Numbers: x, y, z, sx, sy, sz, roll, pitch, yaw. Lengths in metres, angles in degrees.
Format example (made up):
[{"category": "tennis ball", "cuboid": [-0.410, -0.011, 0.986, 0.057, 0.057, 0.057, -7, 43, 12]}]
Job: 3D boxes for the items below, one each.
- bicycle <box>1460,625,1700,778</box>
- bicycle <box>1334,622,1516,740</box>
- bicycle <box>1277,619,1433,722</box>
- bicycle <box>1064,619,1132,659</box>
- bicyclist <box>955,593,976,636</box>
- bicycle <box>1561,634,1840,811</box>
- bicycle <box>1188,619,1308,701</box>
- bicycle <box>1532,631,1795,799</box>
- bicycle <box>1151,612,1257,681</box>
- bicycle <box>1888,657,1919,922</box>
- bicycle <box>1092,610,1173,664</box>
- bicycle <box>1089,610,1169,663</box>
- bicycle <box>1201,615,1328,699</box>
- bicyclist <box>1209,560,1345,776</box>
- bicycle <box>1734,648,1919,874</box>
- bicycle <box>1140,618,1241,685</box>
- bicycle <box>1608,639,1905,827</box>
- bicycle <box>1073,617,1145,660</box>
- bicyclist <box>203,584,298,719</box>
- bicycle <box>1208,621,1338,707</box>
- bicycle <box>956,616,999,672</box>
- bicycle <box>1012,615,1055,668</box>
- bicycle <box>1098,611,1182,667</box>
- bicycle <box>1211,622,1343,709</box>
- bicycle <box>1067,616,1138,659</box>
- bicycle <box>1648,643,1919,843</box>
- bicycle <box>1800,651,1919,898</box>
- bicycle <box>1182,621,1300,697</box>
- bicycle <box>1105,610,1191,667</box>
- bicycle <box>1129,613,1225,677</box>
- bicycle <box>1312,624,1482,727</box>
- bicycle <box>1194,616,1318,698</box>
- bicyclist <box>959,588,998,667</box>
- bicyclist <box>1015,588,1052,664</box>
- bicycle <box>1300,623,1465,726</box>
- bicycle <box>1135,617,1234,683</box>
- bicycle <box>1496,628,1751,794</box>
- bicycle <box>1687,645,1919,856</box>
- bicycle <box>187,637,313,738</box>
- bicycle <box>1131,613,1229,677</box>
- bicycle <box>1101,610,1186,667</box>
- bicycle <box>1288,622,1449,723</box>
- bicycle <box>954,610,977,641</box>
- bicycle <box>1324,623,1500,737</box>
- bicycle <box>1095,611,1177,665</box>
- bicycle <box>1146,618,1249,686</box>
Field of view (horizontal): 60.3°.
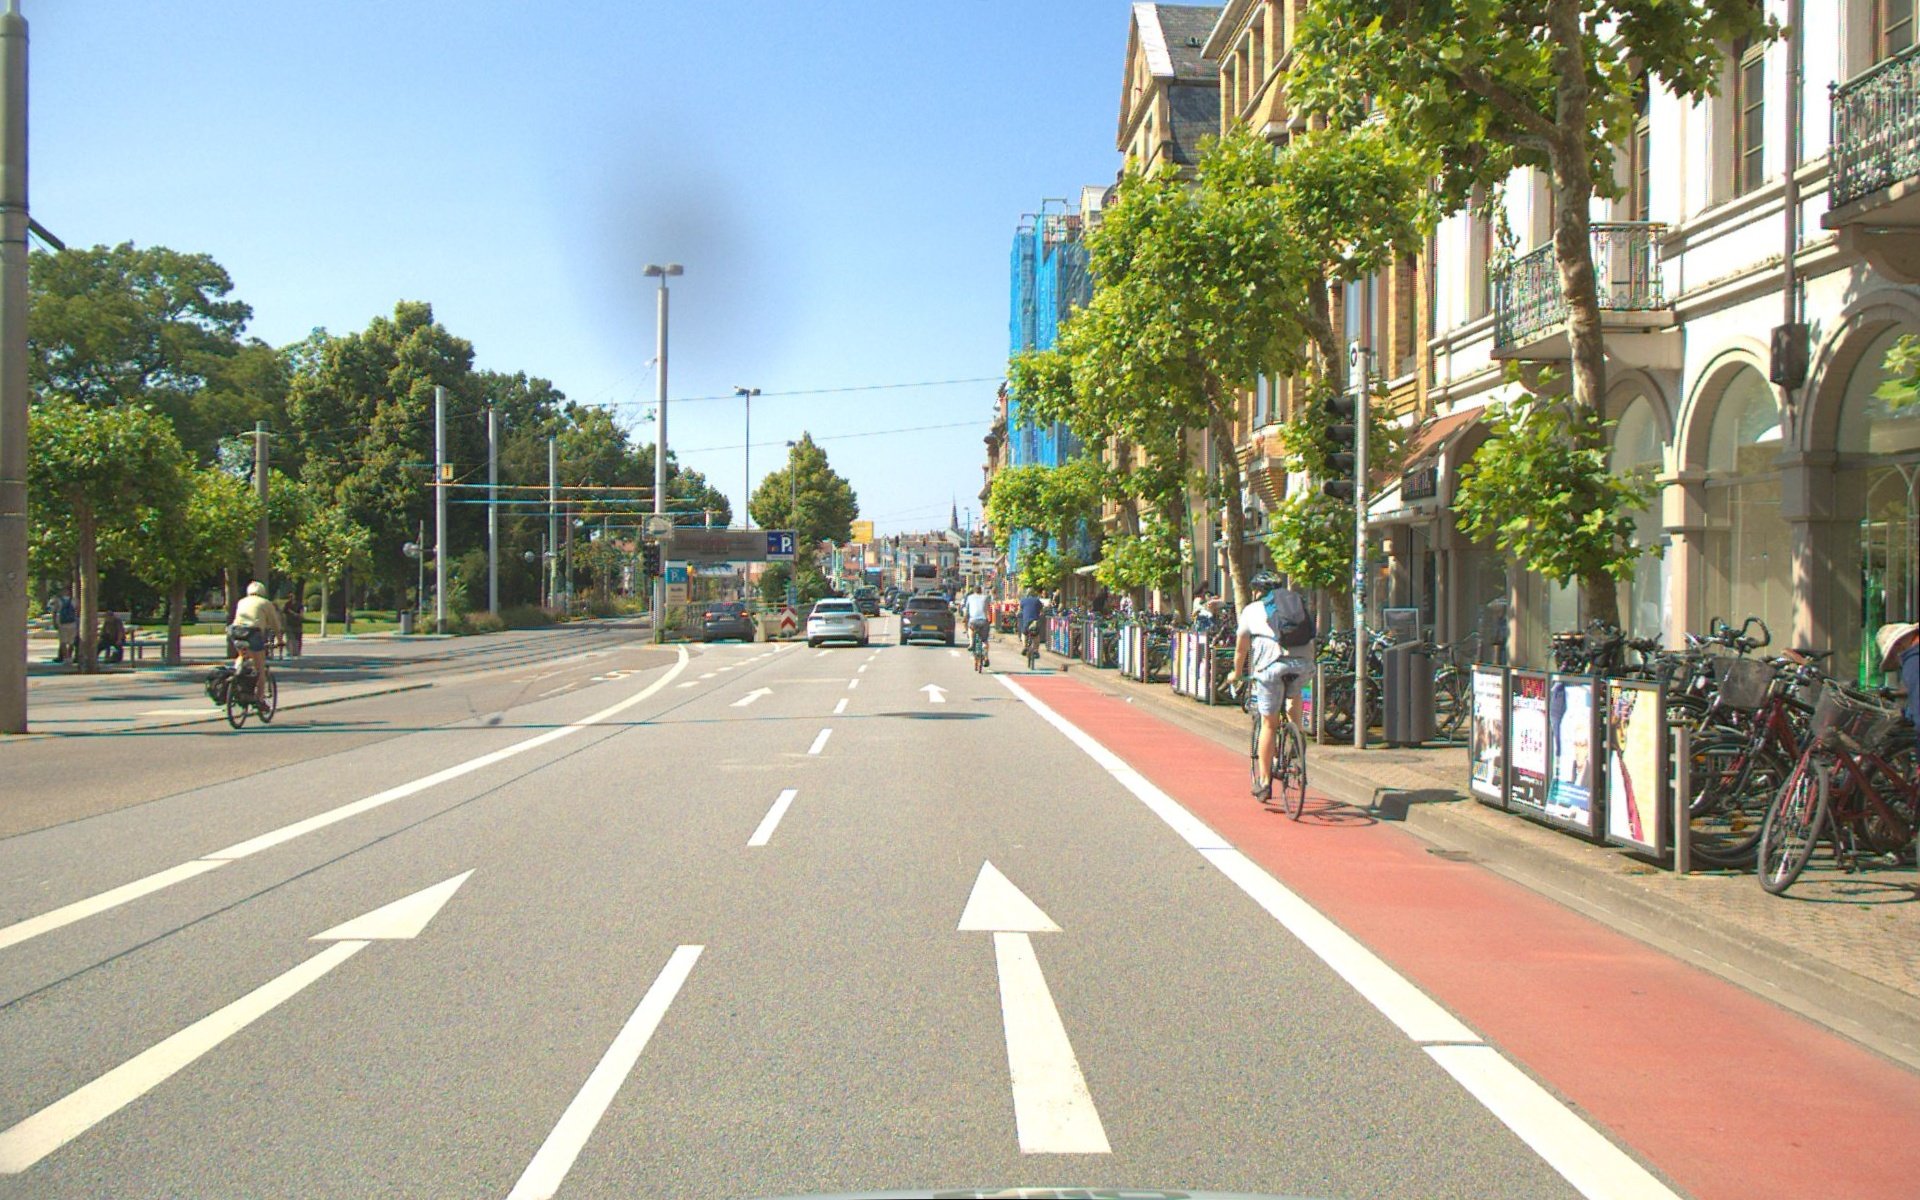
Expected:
[{"category": "bicycle", "cuboid": [4.907, 0.797, 13.121, 1.738, 1.167, 0.482, 1, 0, -4]}, {"category": "bicycle", "cuboid": [4.721, 0.820, 16.817, 1.718, 1.167, 0.482, 1, 0, -4]}, {"category": "bicycle", "cuboid": [4.644, 0.825, 19.470, 1.718, 1.167, 0.482, 1, 0, -4]}, {"category": "bicycle", "cuboid": [3.528, 0.991, 42.395, 1.683, 1.002, 0.482, 1, 0, -4]}, {"category": "bicyclist", "cuboid": [0.206, 0.553, 62.999, 0.675, 1.604, 1.049, 2, 0, -4]}, {"category": "bicycle", "cuboid": [5.059, 0.829, 11.328, 1.718, 1.167, 0.482, 1, 0, -4]}, {"category": "bicycle", "cuboid": [4.342, 0.904, 24.964, 1.718, 1.208, 0.482, 1, 0, -4]}, {"category": "bicycle", "cuboid": [5.058, 0.818, 11.926, 1.718, 1.167, 0.482, 1, 0, -4]}, {"category": "bicycle", "cuboid": [4.193, 0.794, 28.448, 1.718, 1.167, 0.499, 1, 0, -4]}, {"category": "bicycle", "cuboid": [5.127, 0.854, 7.345, 1.718, 1.167, 0.592, 1, 0, -4]}, {"category": "bicycle", "cuboid": [3.810, 0.813, 36.506, 1.718, 1.167, 0.482, 1, 0, -4]}, {"category": "bicycle", "cuboid": [3.775, 0.820, 36.999, 1.718, 1.167, 0.482, 1, 0, -4]}, {"category": "bicycle", "cuboid": [4.368, 0.814, 23.766, 1.718, 1.167, 0.482, 1, 0, -4]}, {"category": "bicyclist", "cuboid": [2.312, 0.479, 12.176, 0.675, 1.488, 1.142, 2, 0, -4]}, {"category": "bicycle", "cuboid": [5.206, 0.859, 9.011, 1.718, 1.167, 0.592, 1, 0, -4]}, {"category": "bicycle", "cuboid": [4.115, 0.912, 29.520, 1.718, 1.167, 0.482, 1, 0, -4]}, {"category": "bicycle", "cuboid": [5.127, 0.852, 10.682, 1.718, 1.167, 0.482, 1, 0, -4]}, {"category": "bicycle", "cuboid": [3.674, 0.940, 40.916, 1.718, 1.036, 0.482, 1, 0, -4]}, {"category": "bicyclist", "cuboid": [-8.931, 0.626, 20.842, 0.801, 1.650, 0.902, -1, 1, -2]}, {"category": "bicycle", "cuboid": [4.386, 0.895, 23.228, 1.718, 1.167, 0.527, 1, 0, -4]}, {"category": "bicycle", "cuboid": [0.351, 0.908, 34.674, 0.719, 1.112, 1.896, 2, 0, -4]}, {"category": "bicycle", "cuboid": [1.629, 0.906, 36.957, 0.719, 1.112, 1.910, 2, 0, -4]}, {"category": "bicycle", "cuboid": [3.865, 0.831, 35.520, 1.718, 1.167, 0.482, 1, 0, -4]}, {"category": "bicycle", "cuboid": [4.339, 0.894, 22.673, 1.718, 1.167, 0.482, 1, 0, -4]}, {"category": "bicycle", "cuboid": [3.591, 0.941, 41.617, 1.718, 1.036, 0.482, 1, 0, -4]}, {"category": "bicycle", "cuboid": [5.145, 0.862, 10.085, 1.718, 1.167, 0.482, 1, 0, -4]}, {"category": "bicycle", "cuboid": [5.216, 0.859, 8.315, 1.718, 1.167, 0.592, 1, 0, -4]}, {"category": "bicycle", "cuboid": [4.337, 0.905, 25.558, 1.718, 1.143, 0.482, 1, 0, -4]}, {"category": "bicycle", "cuboid": [3.921, 0.799, 34.537, 1.718, 1.167, 0.482, 1, 0, -4]}, {"category": "bicycle", "cuboid": [4.068, 0.842, 31.021, 1.718, 1.167, 0.482, 1, 0, -4]}, {"category": "bicycle", "cuboid": [4.735, 0.815, 17.959, 1.718, 1.087, 0.482, 1, 0, -4]}, {"category": "bicycle", "cuboid": [4.345, 0.830, 24.311, 1.718, 1.167, 0.482, 1, 0, -4]}, {"category": "bicyclist", "cuboid": [0.382, 0.569, 34.561, 0.674, 1.604, 1.049, 2, 0, -4]}, {"category": "bicyclist", "cuboid": [1.641, 0.571, 36.917, 0.674, 1.644, 0.918, 2, -1, -3]}, {"category": "bicycle", "cuboid": [4.710, 0.826, 18.461, 1.718, 1.106, 0.482, 1, 0, -4]}, {"category": "bicycle", "cuboid": [4.068, 0.909, 30.011, 1.718, 1.167, 0.482, 1, 0, -4]}, {"category": "bicycle", "cuboid": [5.023, 0.834, 12.559, 1.764, 1.215, 0.482, 1, 0, -4]}, {"category": "bicycle", "cuboid": [5.161, 0.860, 9.571, 1.718, 1.167, 0.482, 1, 0, -4]}, {"category": "bicycle", "cuboid": [-8.932, 1.078, 20.883, 0.801, 1.140, 1.873, -2, 0, -2]}, {"category": "bicycle", "cuboid": [4.049, 0.828, 30.518, 1.718, 1.167, 0.482, 1, 0, -4]}, {"category": "bicycle", "cuboid": [3.889, 0.816, 35.042, 1.718, 1.167, 0.482, 1, 0, -4]}, {"category": "bicycle", "cuboid": [4.676, 0.830, 18.961, 1.718, 1.124, 0.482, 1, 0, -4]}, {"category": "bicycle", "cuboid": [0.199, 0.962, 63.056, 0.719, 1.112, 1.897, 2, 0, -3]}, {"category": "bicycle", "cuboid": [4.744, 0.839, 17.402, 1.718, 1.167, 0.482, 1, 0, -4]}, {"category": "bicycle", "cuboid": [3.829, 0.824, 36.017, 1.718, 1.167, 0.482, 1, 0, -4]}, {"category": "bicycle", "cuboid": [4.157, 0.907, 29.026, 1.718, 1.167, 0.482, 1, 0, -4]}]
